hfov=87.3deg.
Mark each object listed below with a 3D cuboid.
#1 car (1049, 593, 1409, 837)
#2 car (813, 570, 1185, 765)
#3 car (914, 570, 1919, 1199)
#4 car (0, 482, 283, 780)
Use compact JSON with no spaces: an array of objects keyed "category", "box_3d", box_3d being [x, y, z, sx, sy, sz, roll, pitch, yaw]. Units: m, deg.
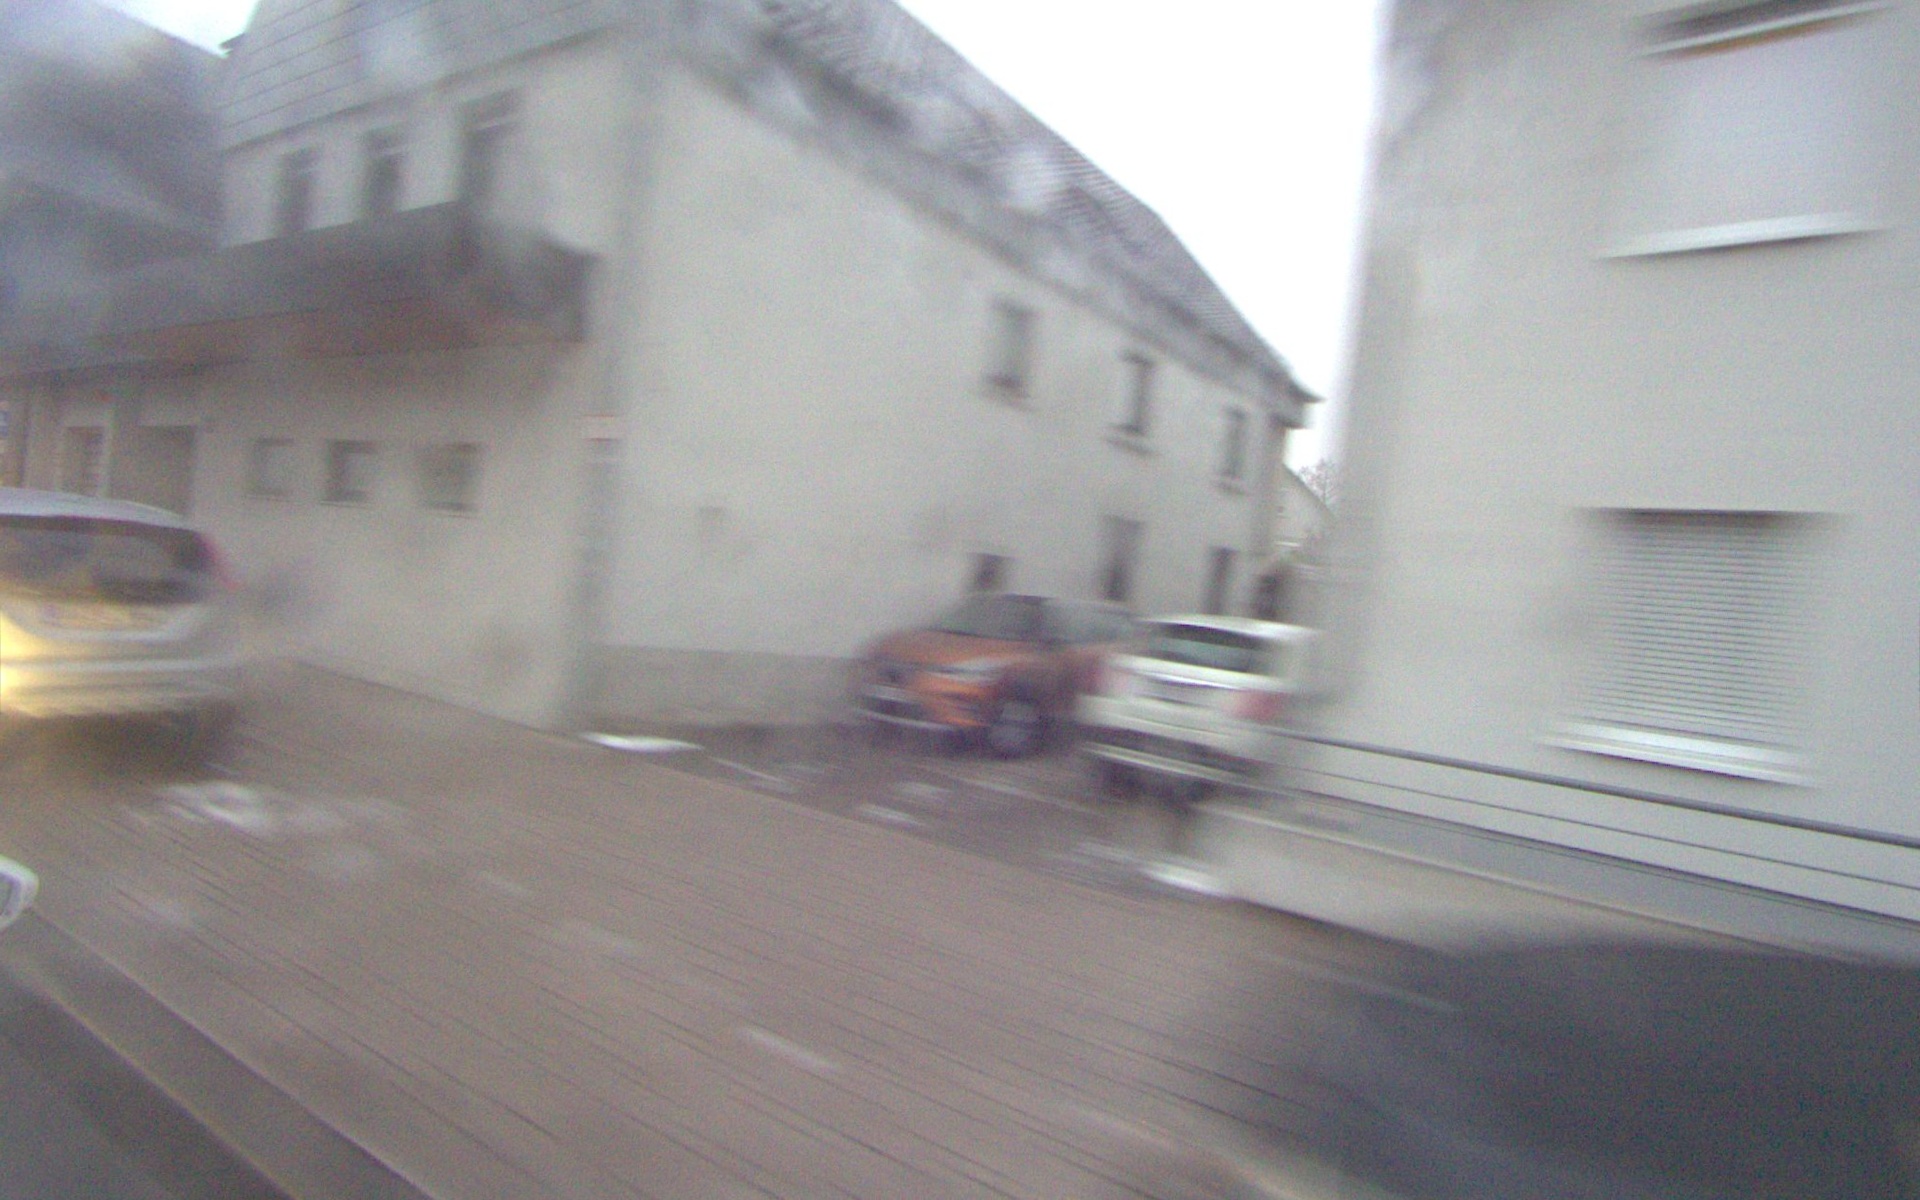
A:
[{"category":"car","box_3d":[2.726,0.951,9.490,1.777,1.622,4.004,8,2,37]},{"category":"car","box_3d":[0.612,0.715,10.934,1.836,1.575,4.143,7,0,38]},{"category":"car","box_3d":[2.535,1.093,0.977,4.924,1.550,1.962,7,-2,30]},{"category":"car","box_3d":[-6.331,-0.023,6.512,4.168,1.474,1.652,7,2,32]}]
